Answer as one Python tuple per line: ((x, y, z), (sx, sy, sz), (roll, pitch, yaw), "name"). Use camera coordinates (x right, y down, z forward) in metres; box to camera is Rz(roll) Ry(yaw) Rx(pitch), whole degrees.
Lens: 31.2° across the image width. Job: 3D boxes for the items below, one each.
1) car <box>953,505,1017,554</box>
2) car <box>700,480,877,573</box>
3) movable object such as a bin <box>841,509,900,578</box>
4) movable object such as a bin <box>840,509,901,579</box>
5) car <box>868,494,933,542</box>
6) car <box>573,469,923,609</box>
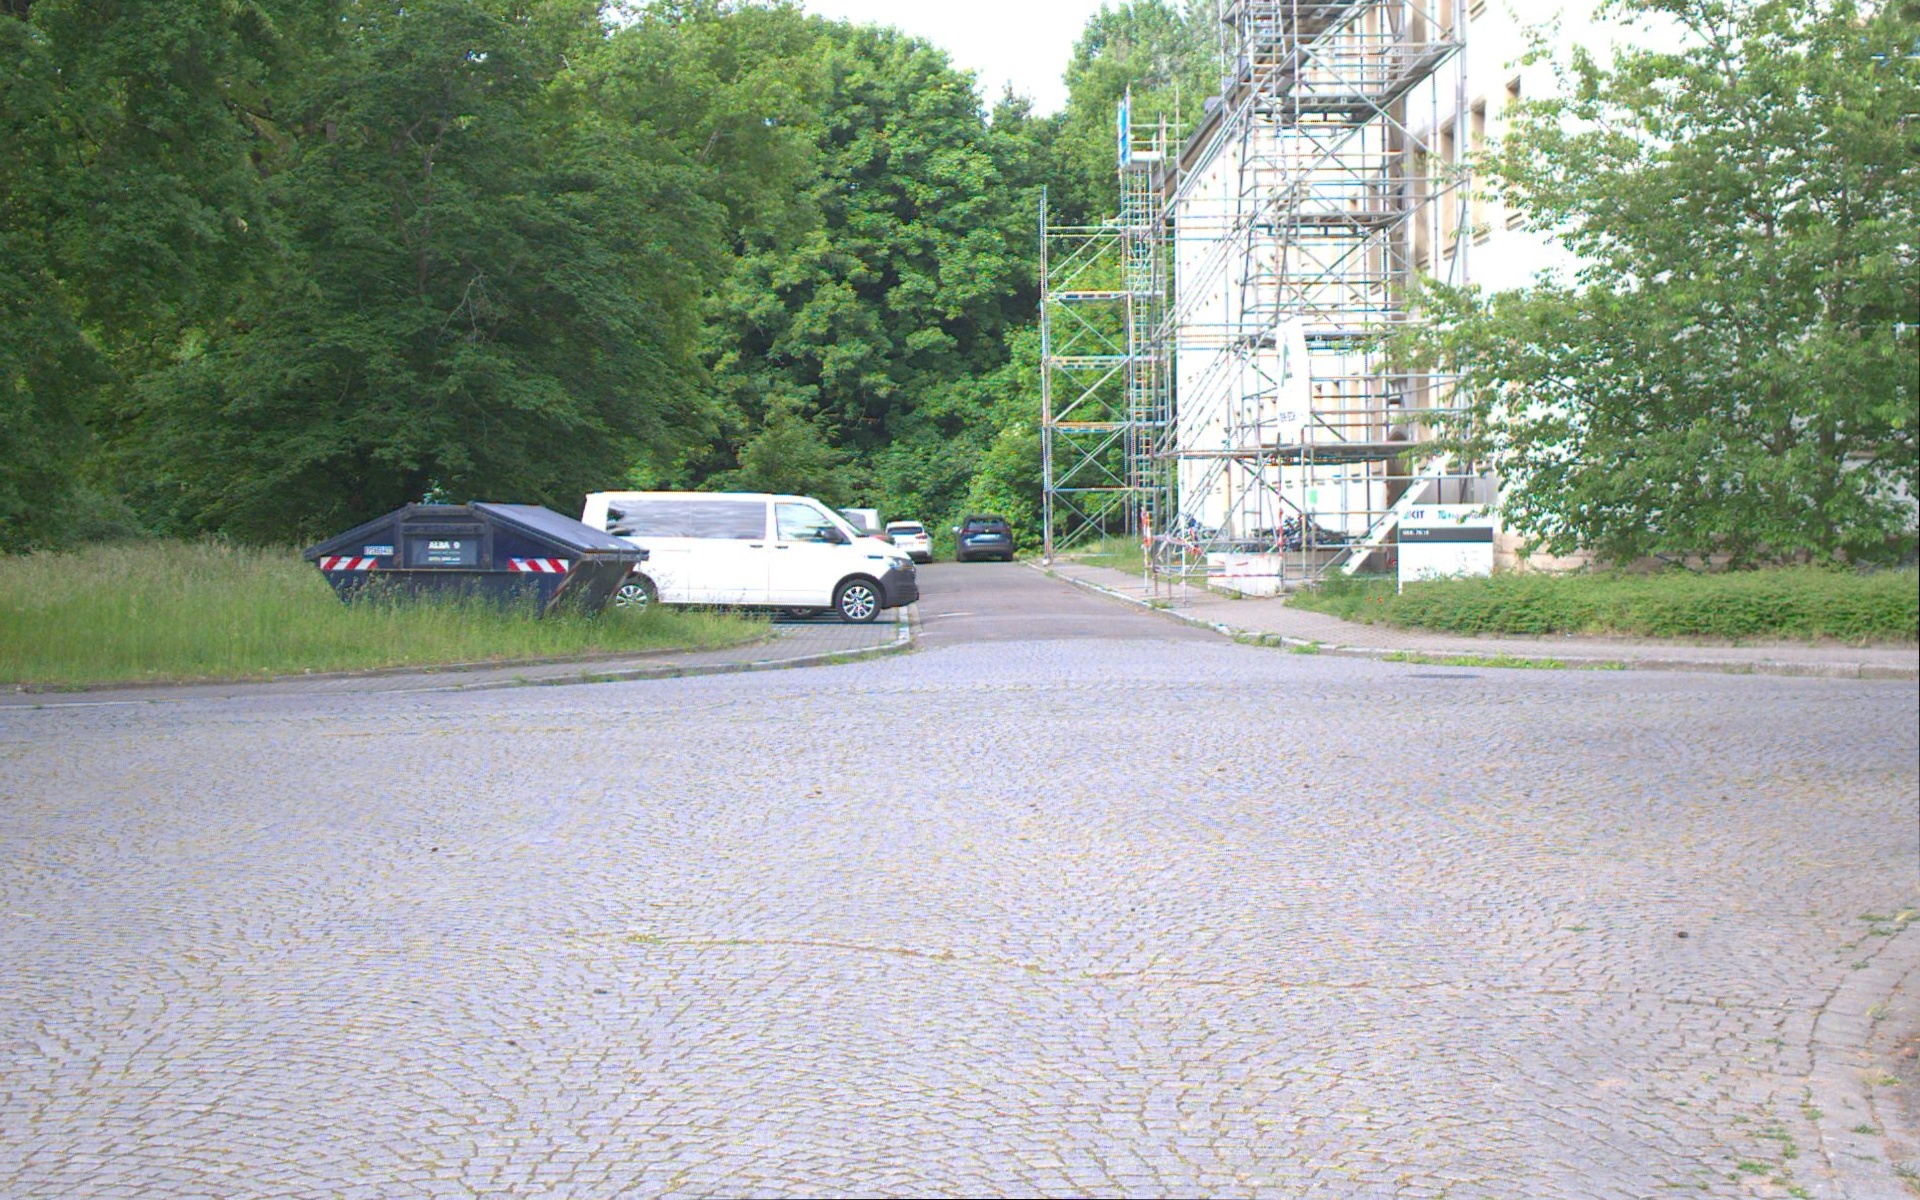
((0.881, -2.426, 118.482), (2.063, 1.588, 4.000), (2, 1, 2), "car")
((-3.996, -1.692, 79.738), (3.986, 2.007, 1.922), (2, 1, -5), "car")
((-1.876, -1.180, 72.160), (1.183, 1.402, 0.975), (2, 0, 0), "movable object such as a bin")
((-1.843, -1.160, 70.952), (1.183, 1.402, 0.975), (2, 0, 0), "movable object such as a bin")
((-2.074, -2.813, 118.273), (2.001, 1.542, 3.959), (2, 1, -4), "car")
((-3.185, -0.925, 52.314), (5.200, 2.053, 2.188), (0, 1, -1), "car")
